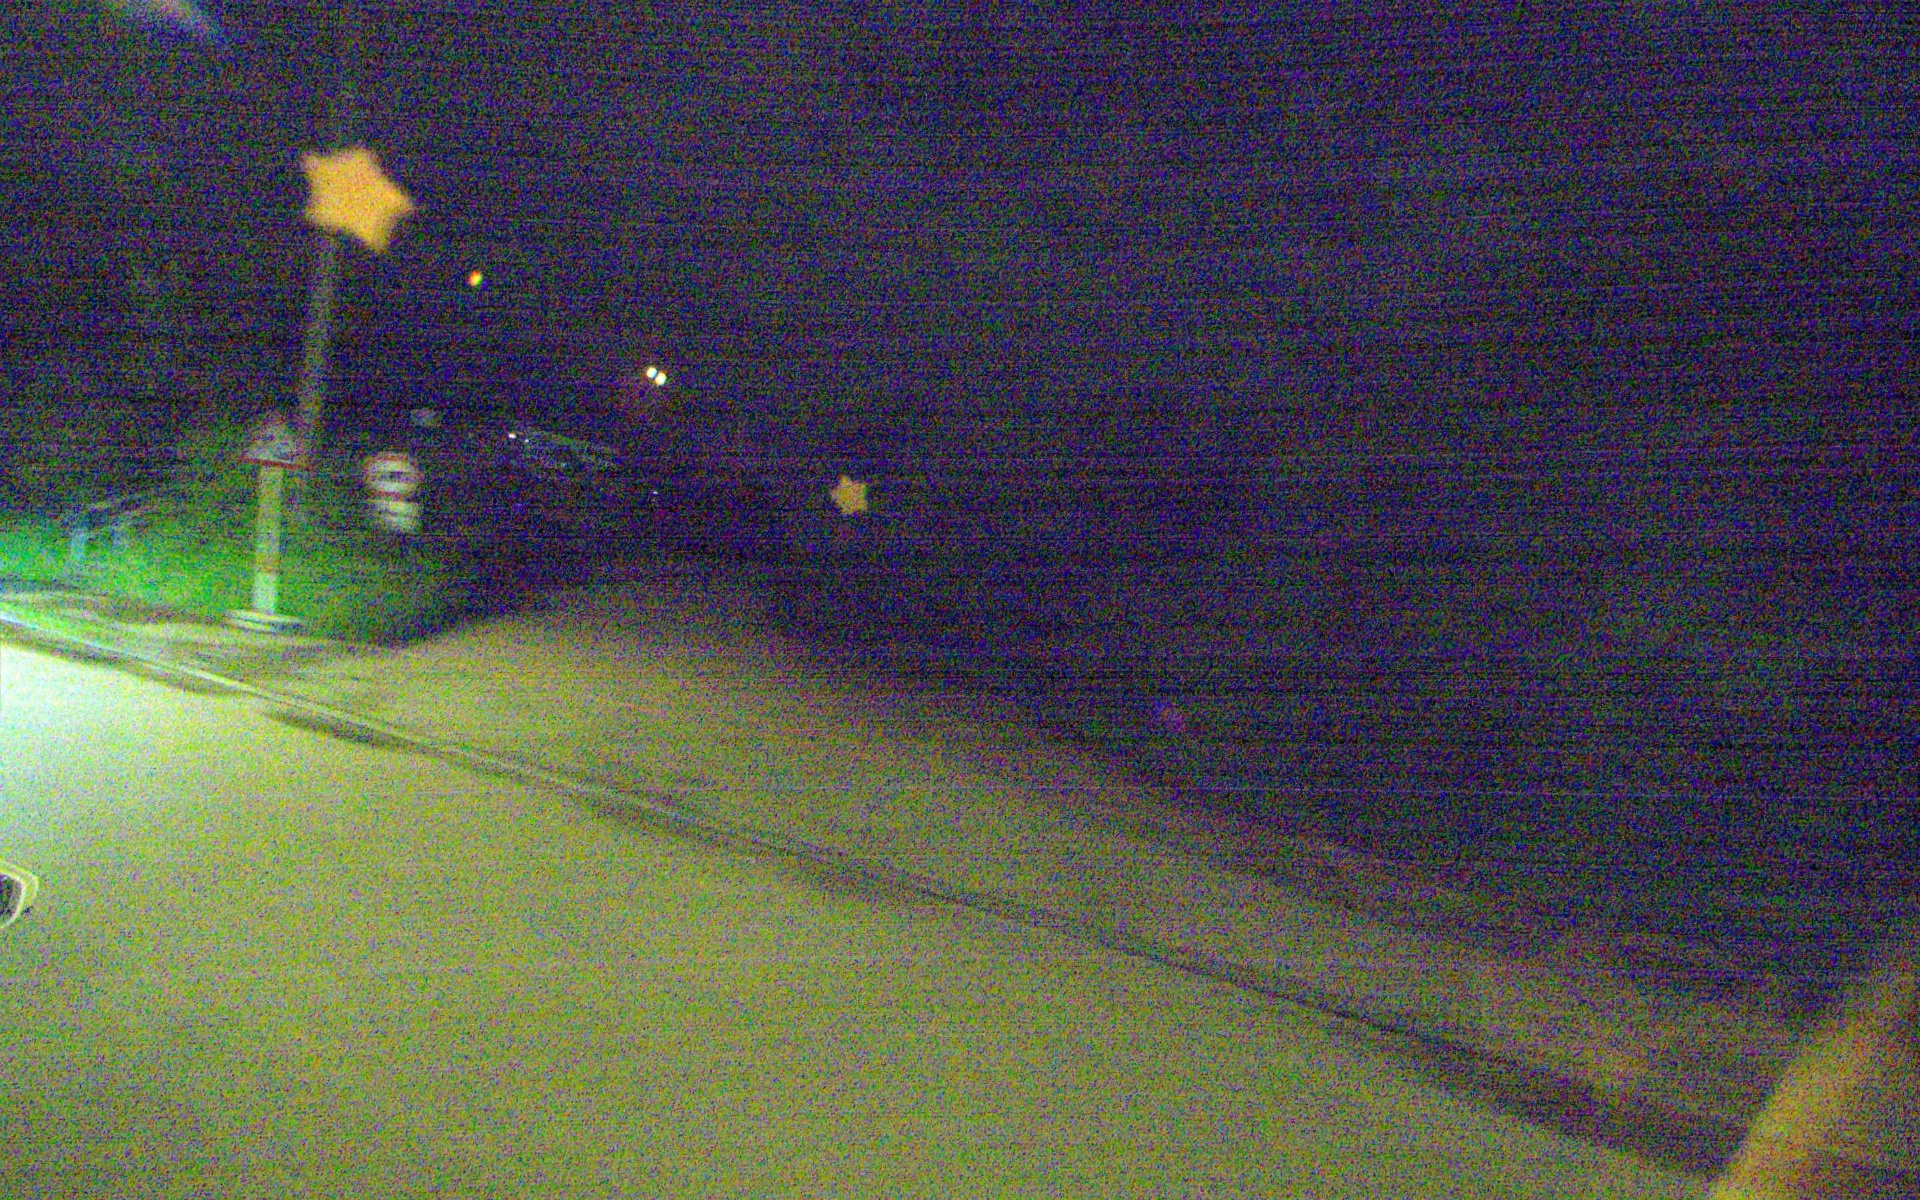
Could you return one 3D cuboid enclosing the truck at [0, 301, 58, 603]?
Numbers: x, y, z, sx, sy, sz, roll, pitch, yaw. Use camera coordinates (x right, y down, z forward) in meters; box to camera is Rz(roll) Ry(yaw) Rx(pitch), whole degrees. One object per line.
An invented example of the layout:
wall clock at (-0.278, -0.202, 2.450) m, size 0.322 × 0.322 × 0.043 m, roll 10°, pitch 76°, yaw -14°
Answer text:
truck at (-17.221, -2.486, 14.471) m, size 9.169 × 3.915 × 3.331 m, roll 6°, pitch -1°, yaw 30°
